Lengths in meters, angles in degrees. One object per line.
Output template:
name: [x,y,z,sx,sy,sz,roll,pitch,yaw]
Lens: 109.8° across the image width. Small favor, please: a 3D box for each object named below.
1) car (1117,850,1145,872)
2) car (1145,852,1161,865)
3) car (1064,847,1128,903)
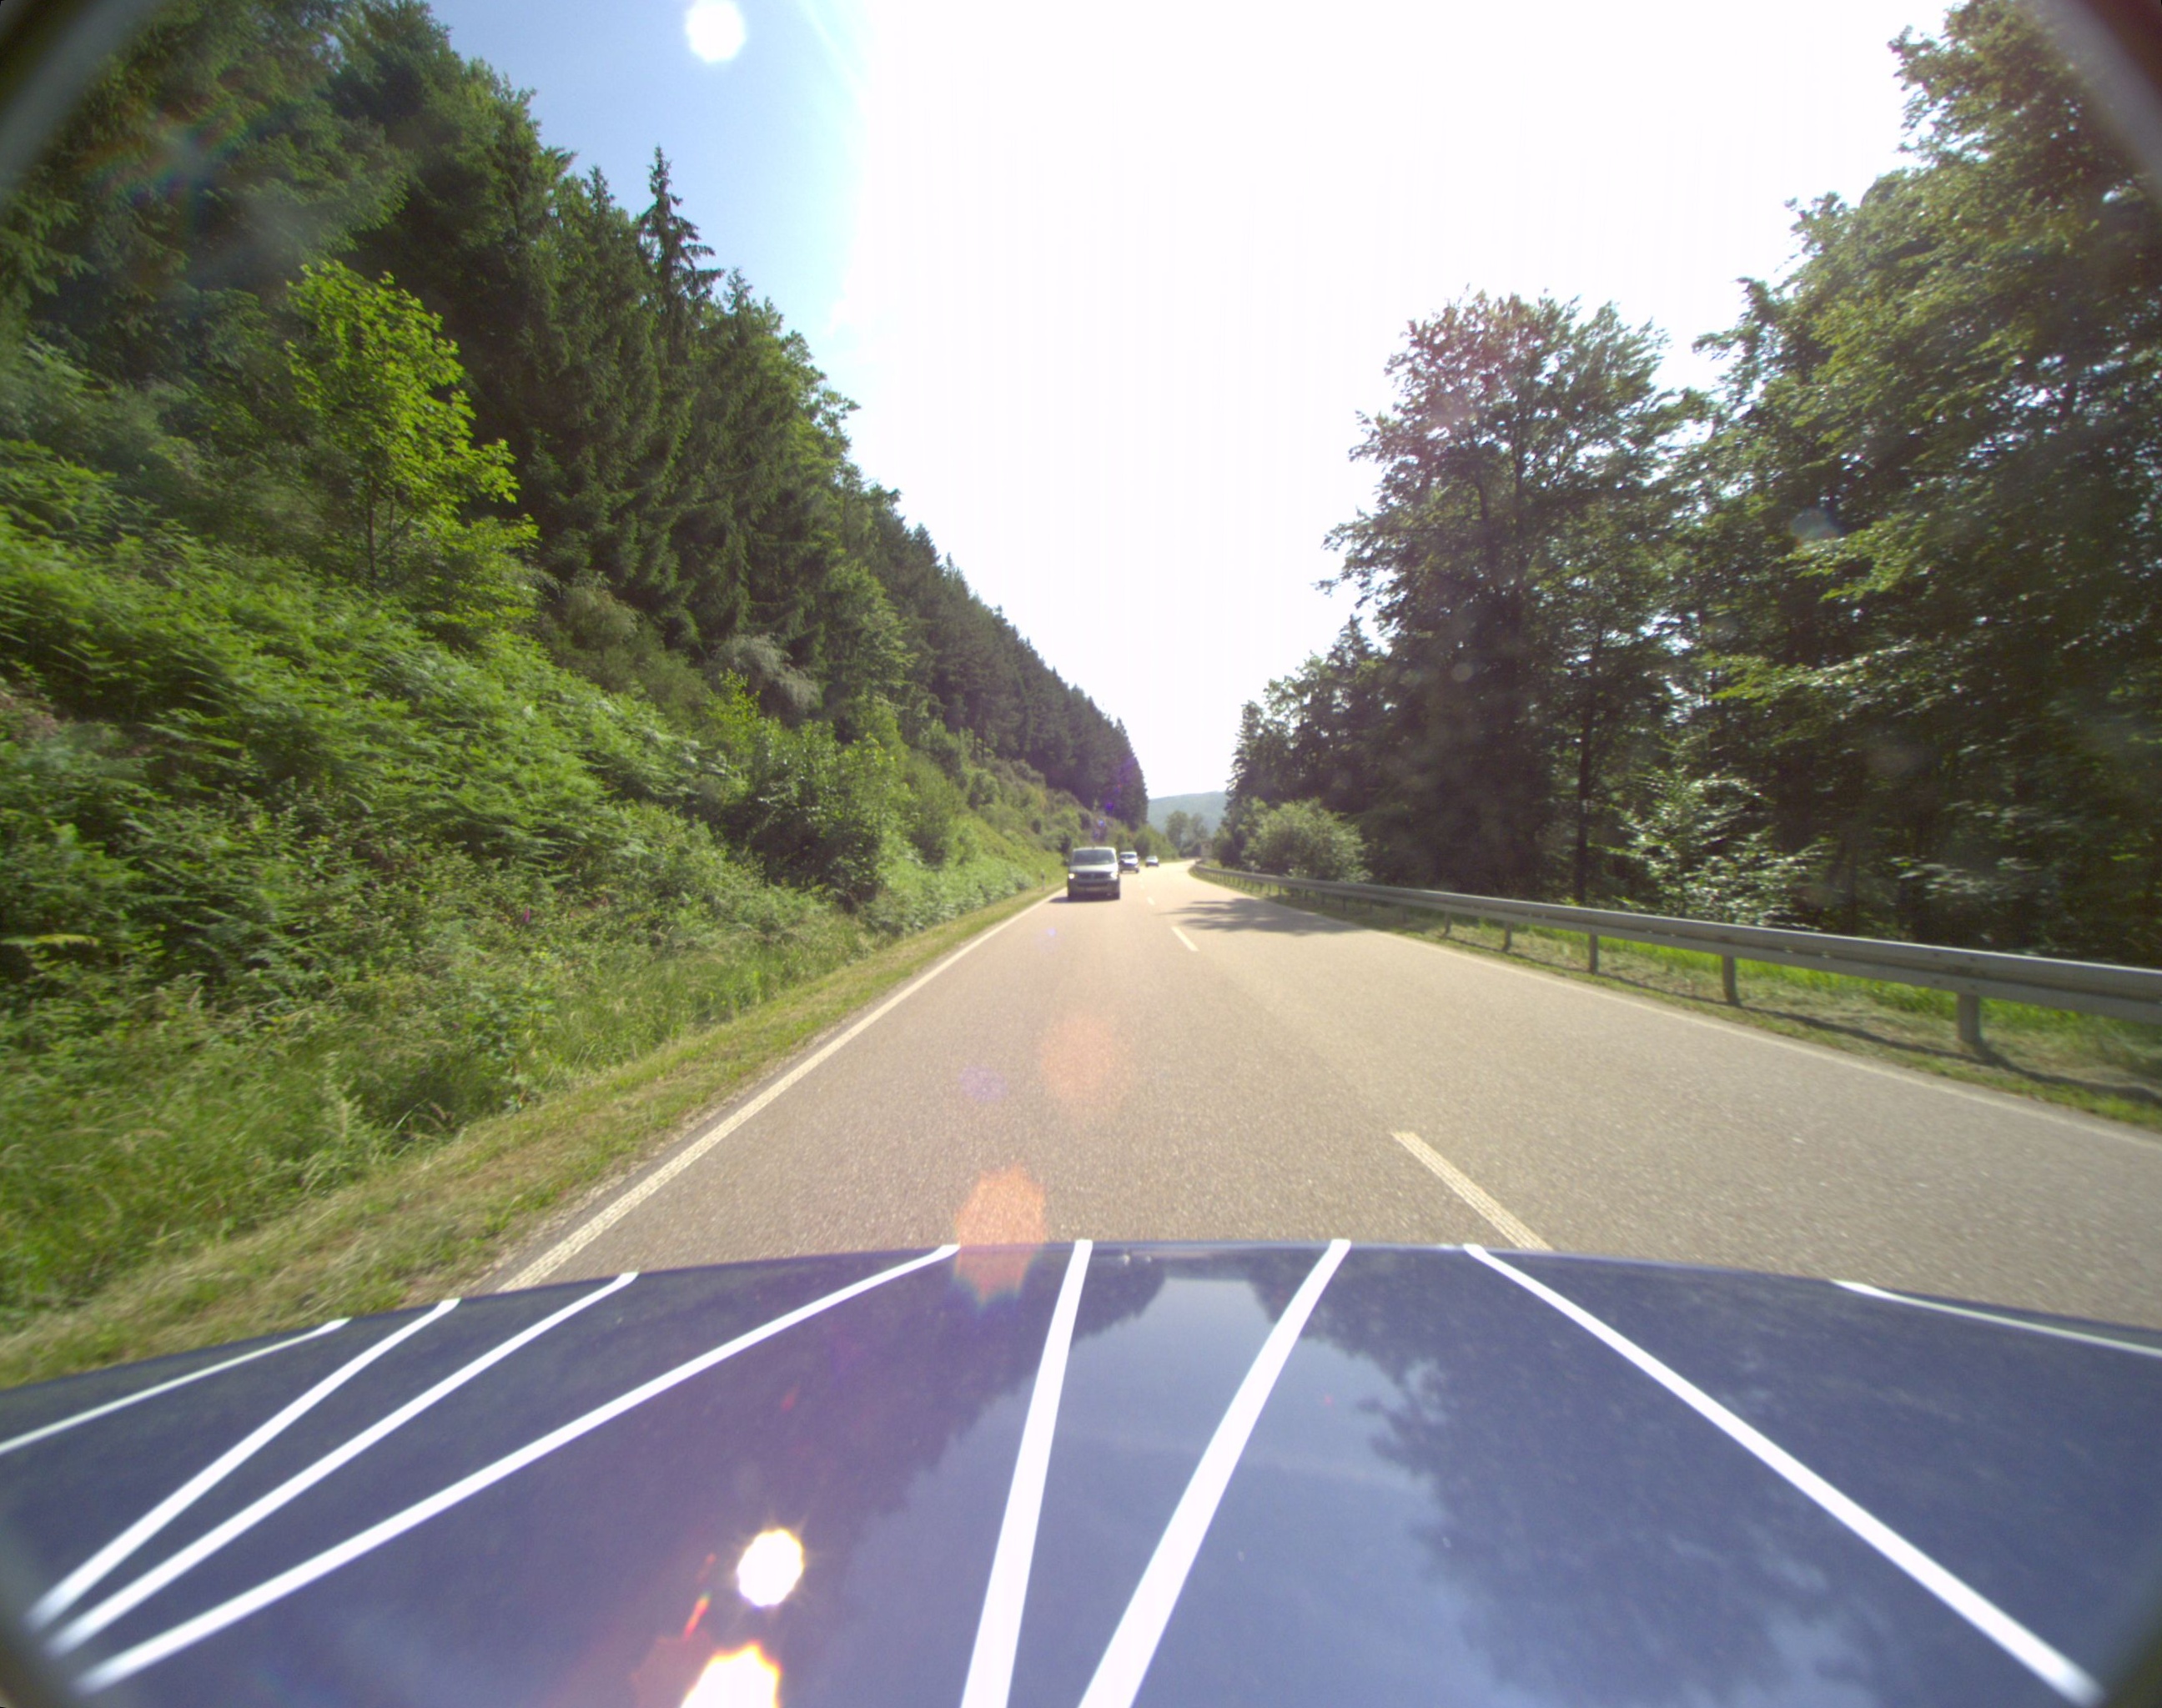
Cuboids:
car: [4.624,0.615,69.610,2.136,1.824,4.725,-1,0,8]
car: [10.032,0.573,105.232,1.997,1.718,4.002,-2,0,8]
car: [0.663,0.710,28.547,1.989,1.899,4.762,-1,0,6]
